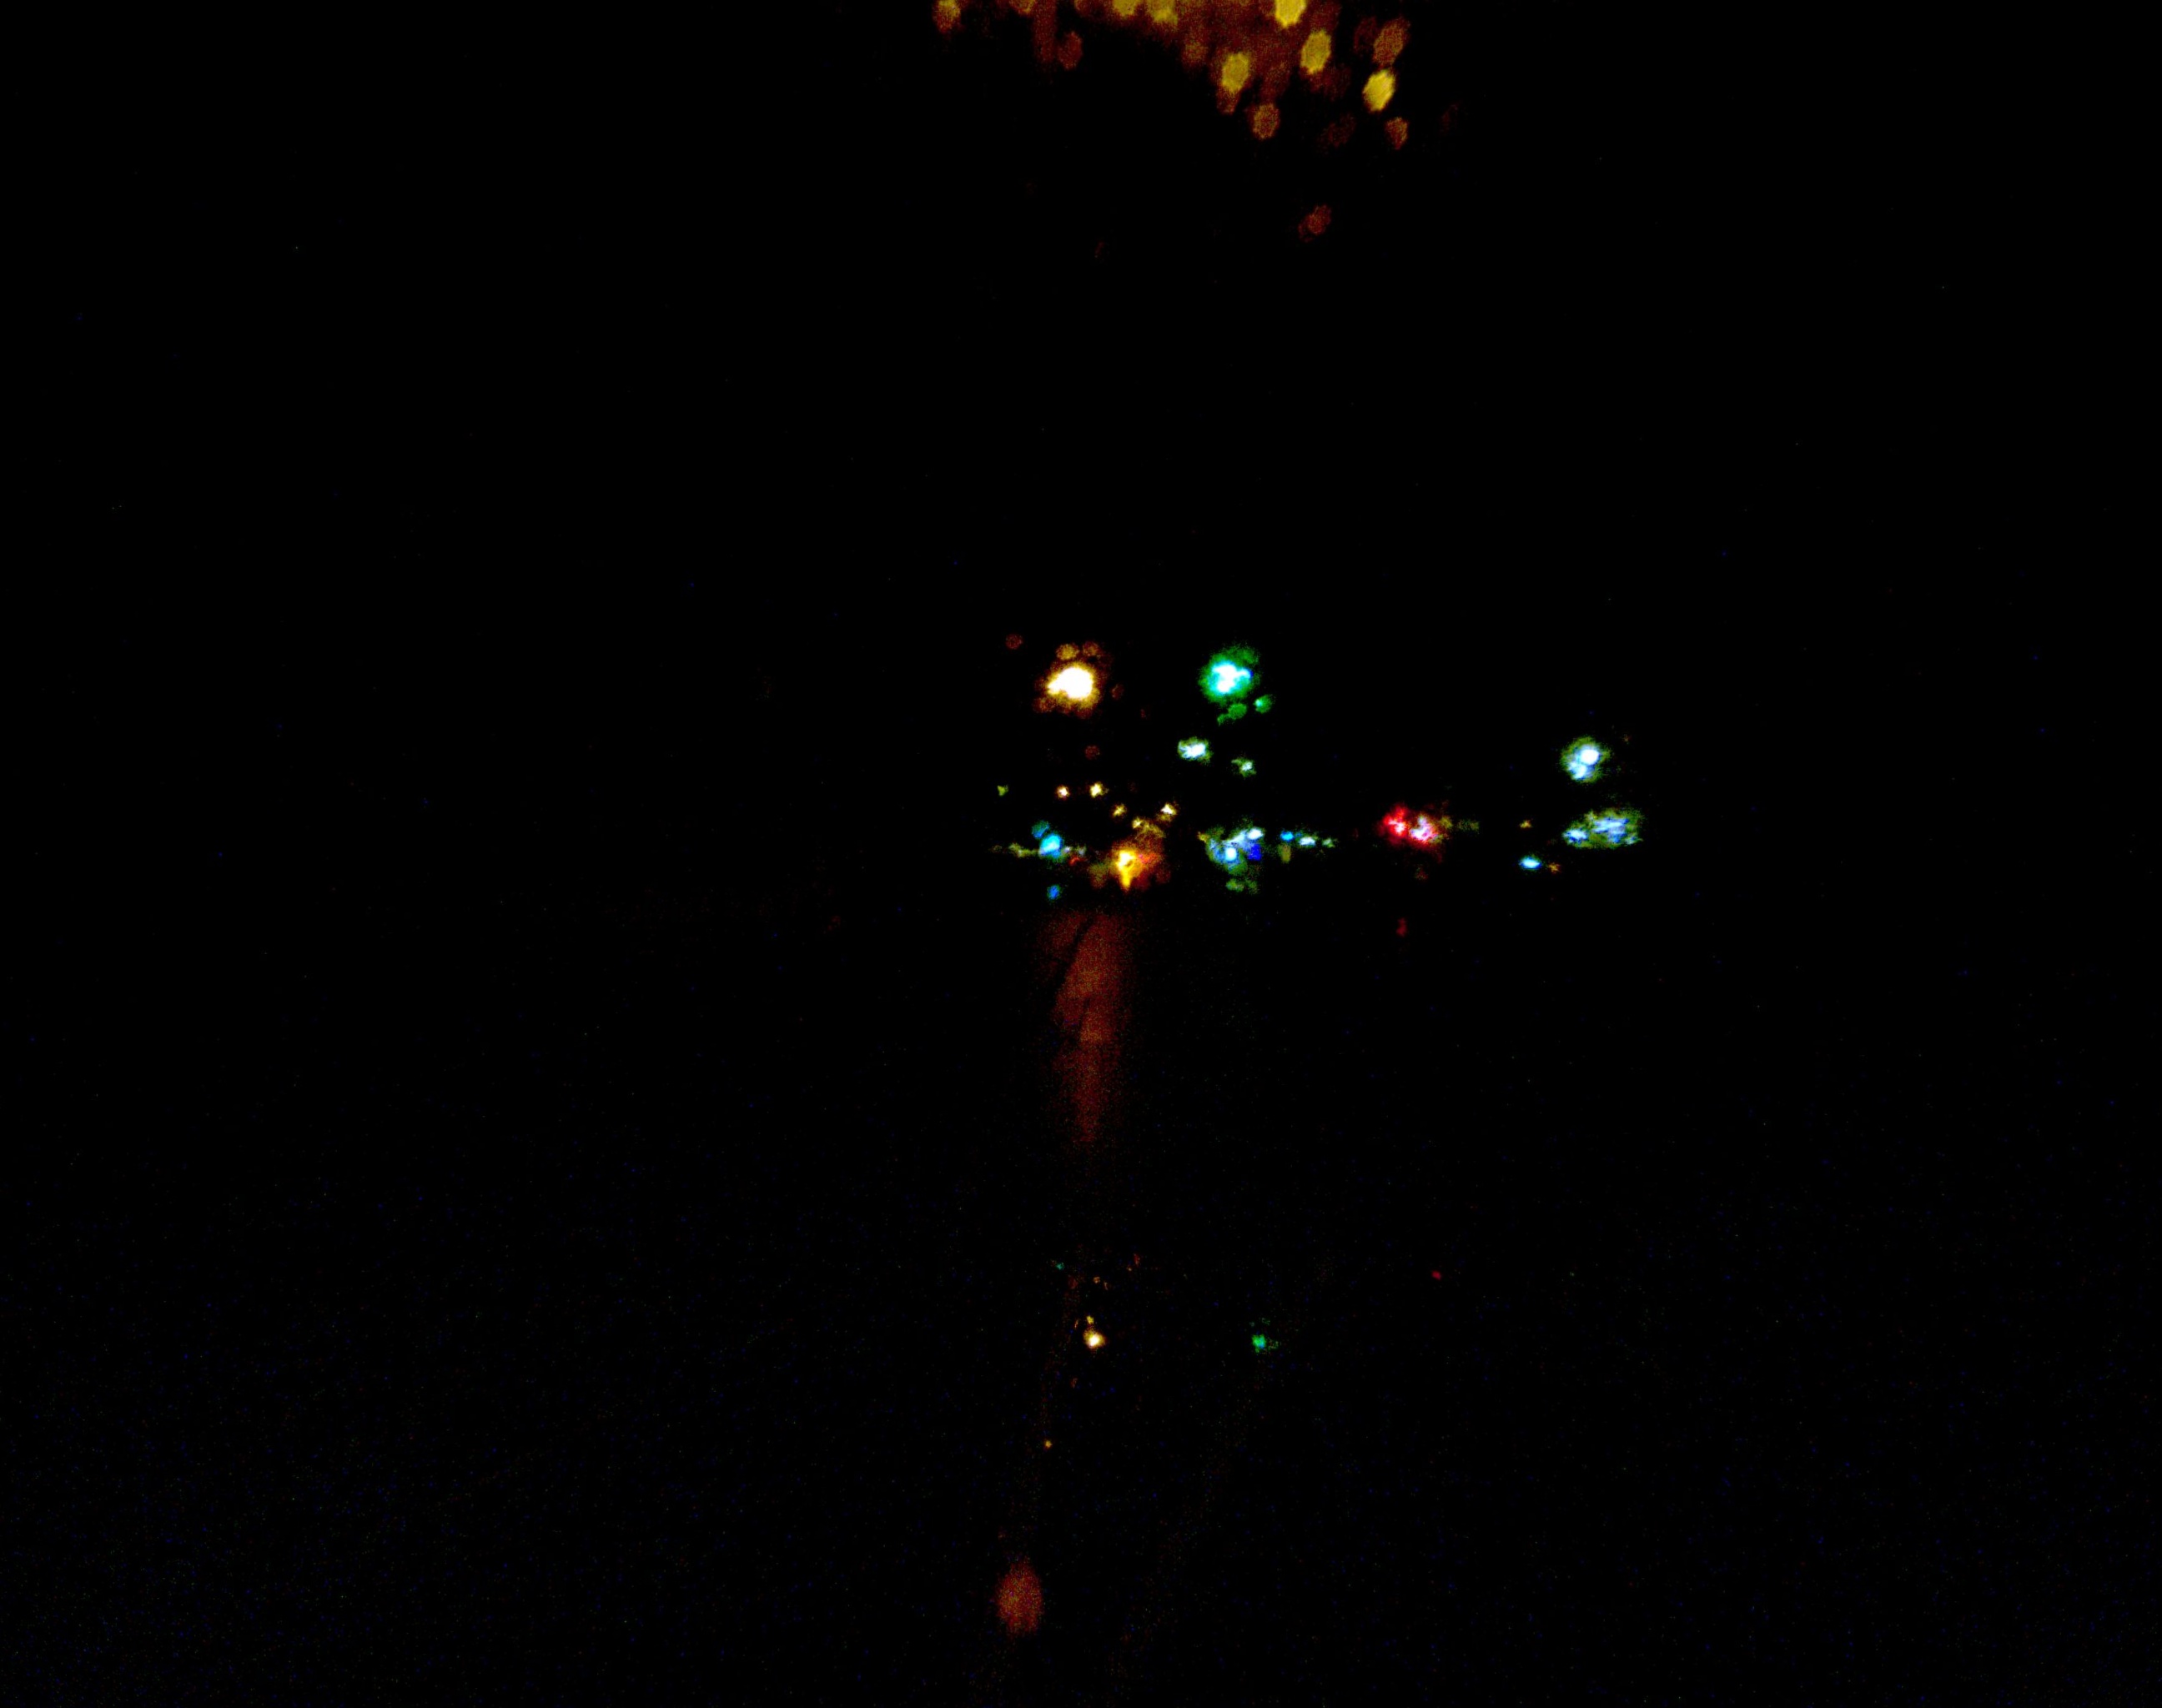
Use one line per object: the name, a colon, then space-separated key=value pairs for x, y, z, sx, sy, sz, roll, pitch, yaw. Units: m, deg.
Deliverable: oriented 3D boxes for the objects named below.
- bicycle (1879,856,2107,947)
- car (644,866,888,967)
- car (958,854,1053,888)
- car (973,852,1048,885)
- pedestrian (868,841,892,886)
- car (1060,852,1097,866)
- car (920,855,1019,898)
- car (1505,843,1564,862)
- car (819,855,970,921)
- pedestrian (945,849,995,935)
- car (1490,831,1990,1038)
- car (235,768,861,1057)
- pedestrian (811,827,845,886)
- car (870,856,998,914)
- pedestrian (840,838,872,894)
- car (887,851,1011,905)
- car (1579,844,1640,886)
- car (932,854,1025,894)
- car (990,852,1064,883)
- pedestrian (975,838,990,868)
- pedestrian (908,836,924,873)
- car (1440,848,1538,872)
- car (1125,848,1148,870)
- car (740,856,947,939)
bicycle: x=12.414 y=0.619 z=10.422 sx=1.966 sy=1.174 sz=0.542 roll=0 pitch=1 yaw=22
car: x=-5.493 y=1.002 z=13.437 sx=3.735 sy=1.460 sz=1.610 roll=-2 pitch=1 yaw=-27
car: x=-3.488 y=0.768 z=35.351 sx=4.122 sy=1.483 sz=1.590 roll=1 pitch=0 yaw=-34
car: x=-3.550 y=0.713 z=38.349 sx=3.403 sy=1.583 sz=1.590 roll=1 pitch=0 yaw=-33
pedestrian: x=-8.085 y=0.390 z=30.602 sx=0.657 sy=1.779 sz=0.784 roll=1 pitch=-1 yaw=3
car: x=-0.330 y=0.496 z=77.438 sx=1.831 sy=1.417 sz=4.195 roll=-1 pitch=1 yaw=-32
car: x=-4.299 y=0.815 z=29.408 sx=3.403 sy=1.552 sz=1.634 roll=-1 pitch=1 yaw=-32
car: x=38.030 y=-0.096 z=63.857 sx=4.209 sy=1.557 sz=1.853 roll=0 pitch=1 yaw=29
car: x=-4.864 y=0.827 z=19.924 sx=3.517 sy=1.552 sz=1.590 roll=-1 pitch=1 yaw=-32
pedestrian: x=-2.354 y=0.785 z=16.272 sx=0.824 sy=1.760 sz=1.178 roll=0 pitch=1 yaw=3
car: x=6.501 y=0.649 z=8.343 sx=1.816 sy=1.660 sz=4.412 roll=-1 pitch=0 yaw=3
car: x=-5.195 y=0.452 z=8.324 sx=4.950 sy=2.327 sz=2.226 roll=-1 pitch=1 yaw=-30
pedestrian: x=-8.348 y=0.086 z=25.071 sx=0.747 sy=1.893 sz=0.843 roll=1 pitch=-1 yaw=3
car: x=-4.395 y=0.873 z=22.836 sx=3.403 sy=1.552 sz=1.590 roll=-1 pitch=1 yaw=-33
pedestrian: x=-7.494 y=0.408 z=25.333 sx=0.747 sy=1.829 sz=0.871 roll=1 pitch=-1 yaw=3
car: x=-4.497 y=0.754 z=25.894 sx=3.808 sy=1.679 sz=1.832 roll=-1 pitch=1 yaw=-26
car: x=23.021 y=0.469 z=33.218 sx=1.695 sy=1.718 sz=4.008 roll=1 pitch=0 yaw=28
car: x=-4.312 y=0.794 z=32.019 sx=3.488 sy=1.552 sz=1.633 roll=-1 pitch=1 yaw=-30
car: x=-2.871 y=0.701 z=40.924 sx=3.607 sy=1.552 sz=1.707 roll=-1 pitch=1 yaw=-35
pedestrian: x=-6.339 y=-0.033 z=48.860 sx=0.806 sy=1.894 sz=0.884 roll=1 pitch=-1 yaw=3
pedestrian: x=-7.677 y=0.030 z=35.364 sx=0.575 sy=1.654 sz=0.601 roll=1 pitch=-1 yaw=3
car: x=25.009 y=0.323 z=46.625 sx=5.053 sy=1.417 sz=2.004 roll=0 pitch=1 yaw=36
car: x=4.778 y=0.375 z=65.454 sx=1.810 sy=1.759 sz=4.273 roll=-2 pitch=0 yaw=4
car: x=-5.106 y=0.855 z=16.398 sx=4.057 sy=1.552 sz=1.747 roll=-1 pitch=1 yaw=-25
